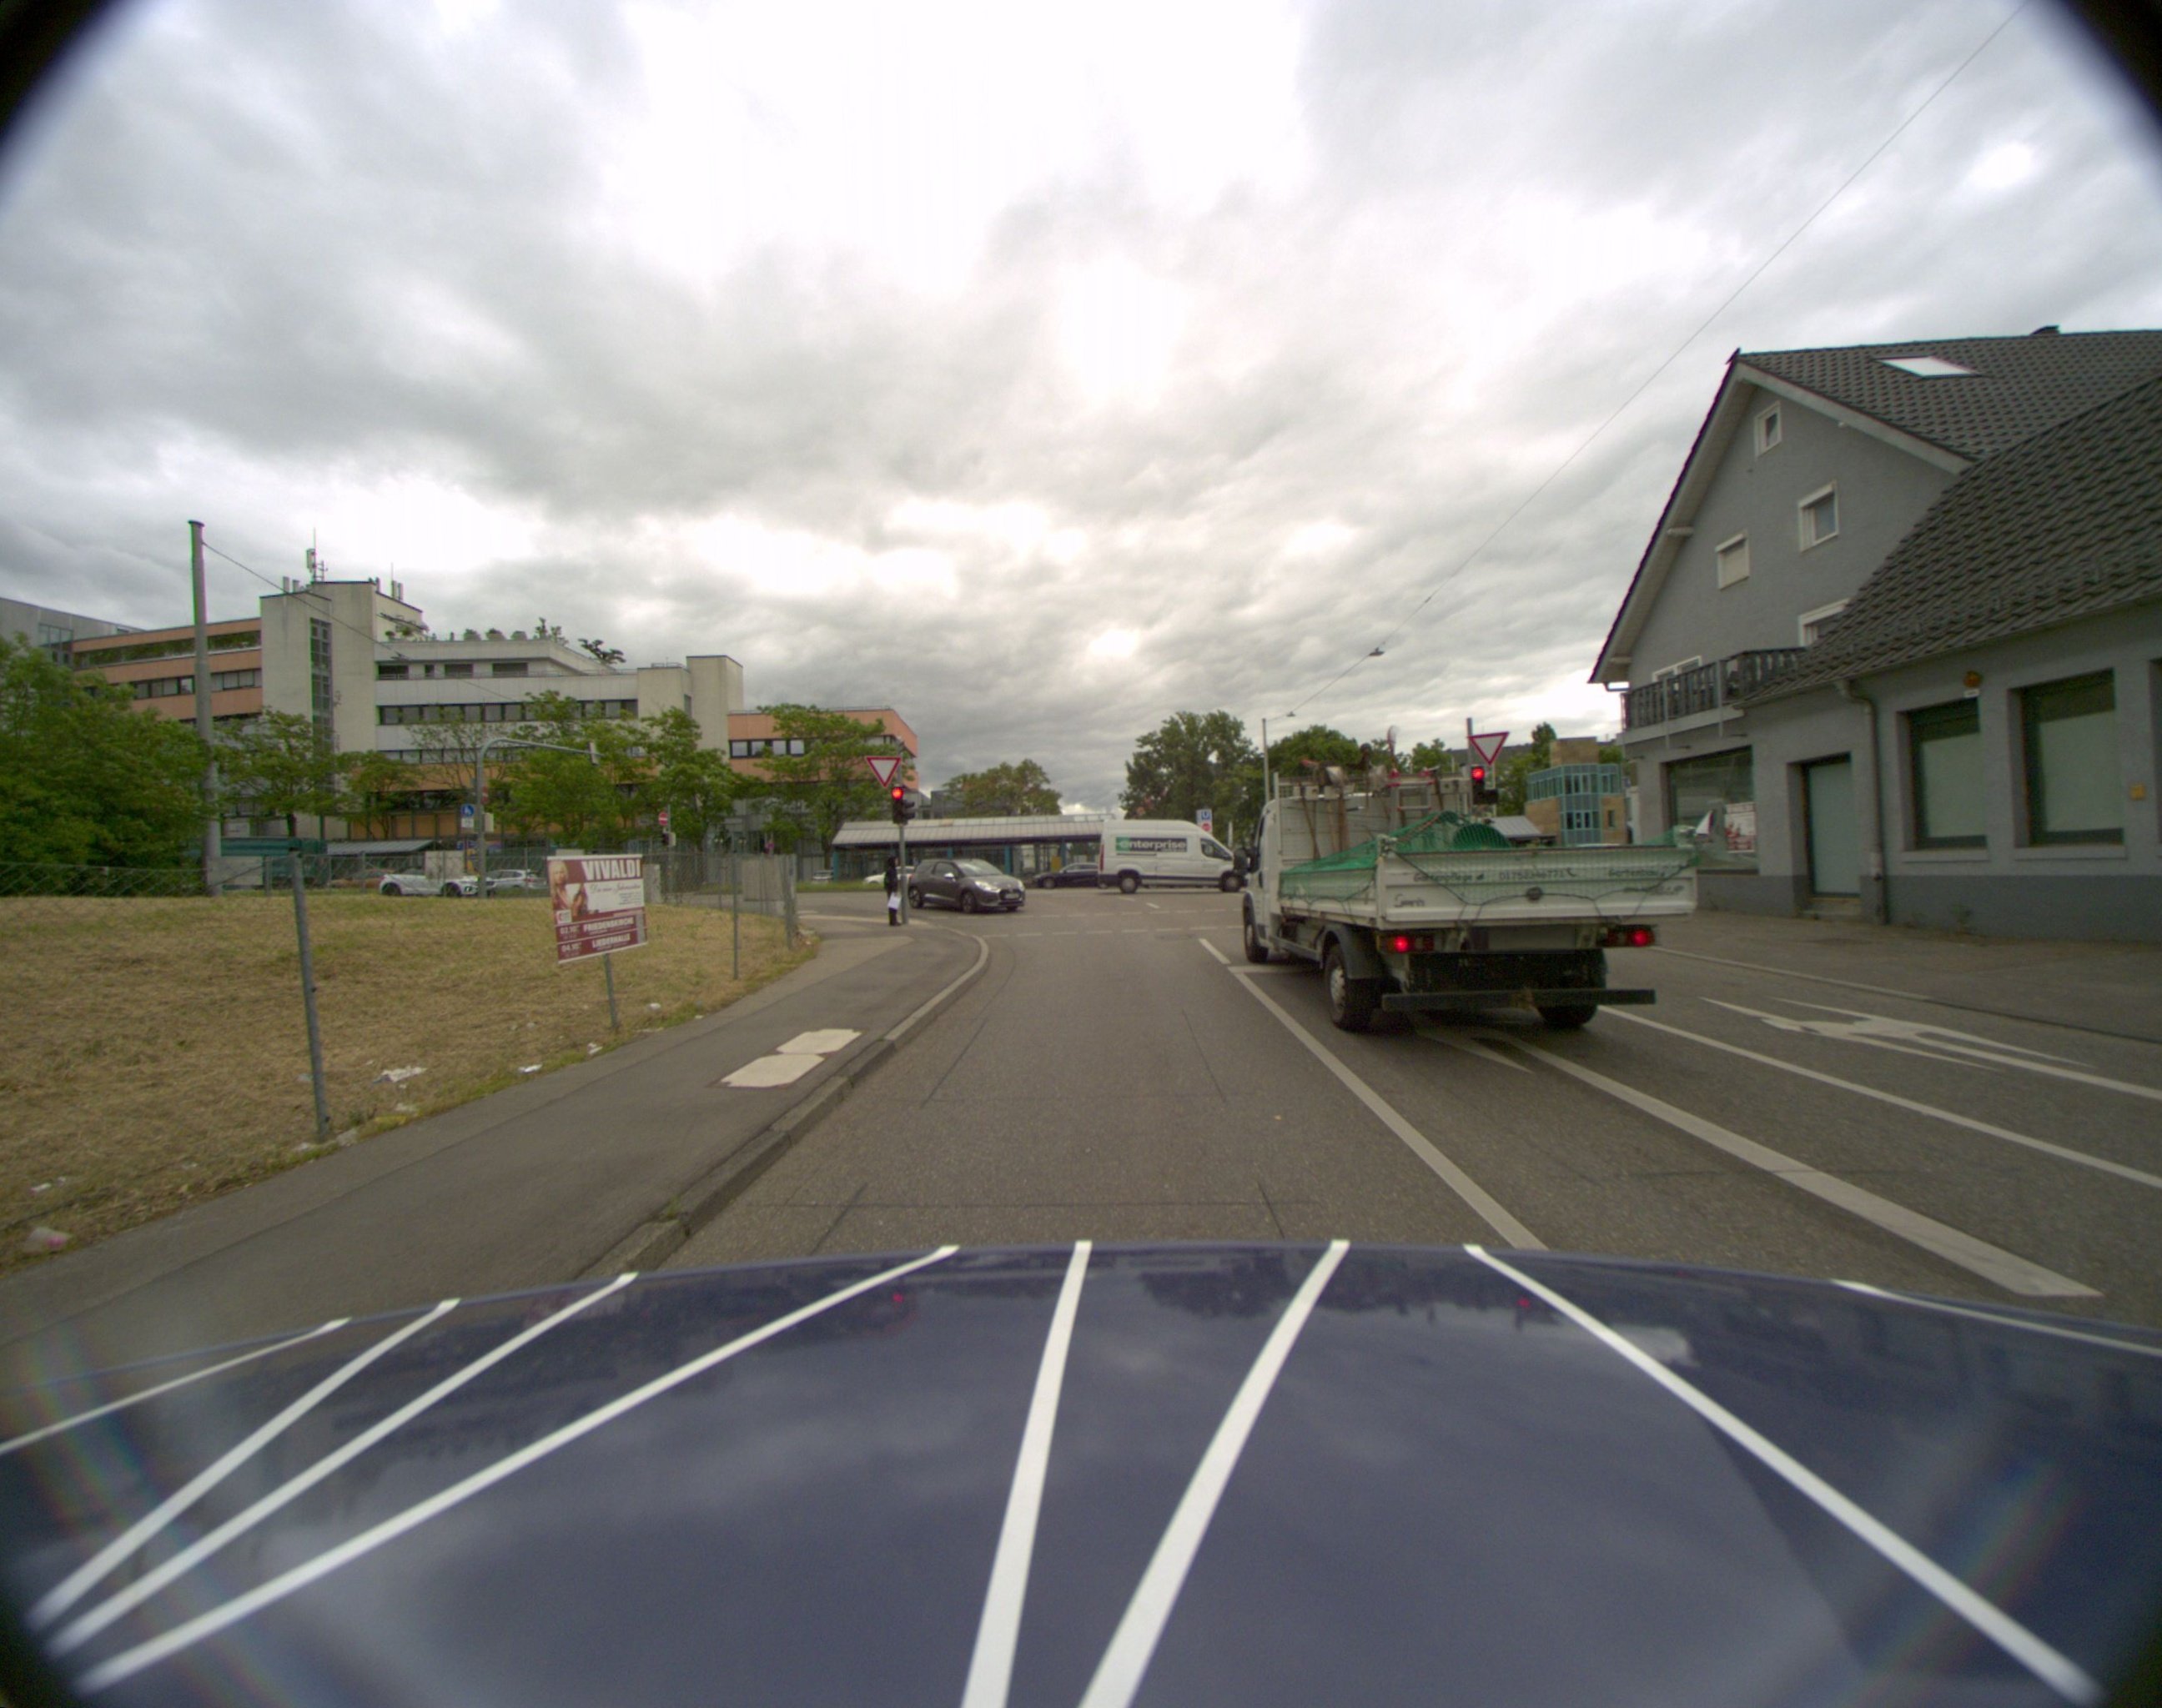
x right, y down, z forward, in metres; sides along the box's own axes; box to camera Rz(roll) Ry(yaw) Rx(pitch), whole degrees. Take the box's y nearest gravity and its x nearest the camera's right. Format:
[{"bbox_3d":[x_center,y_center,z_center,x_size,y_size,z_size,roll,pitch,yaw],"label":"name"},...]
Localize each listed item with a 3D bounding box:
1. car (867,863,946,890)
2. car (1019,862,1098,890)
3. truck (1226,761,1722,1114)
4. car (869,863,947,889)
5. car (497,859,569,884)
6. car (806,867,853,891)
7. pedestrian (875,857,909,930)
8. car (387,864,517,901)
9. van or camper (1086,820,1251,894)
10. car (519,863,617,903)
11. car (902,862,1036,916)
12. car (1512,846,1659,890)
[{"bbox_3d":[-9.675,1.216,42.291,3.932,1.372,1.631,1,0,1],"label":"car"},{"bbox_3d":[-1.110,1.101,38.780,3.914,1.303,1.668,-1,0,1],"label":"car"},{"bbox_3d":[3.152,0.560,8.199,2.126,2.188,6.591,-3,0,3],"label":"truck"},{"bbox_3d":[-9.599,1.227,42.297,3.914,1.303,1.668,1,0,1],"label":"car"},{"bbox_3d":[-29.965,0.948,41.592,2.995,1.215,1.294,2,0,1],"label":"car"},{"bbox_3d":[-16.848,1.629,51.166,1.802,1.448,4.000,1,0,0],"label":"car"},{"bbox_3d":[-4.207,0.865,16.928,0.553,1.581,0.672,1,0,0],"label":"pedestrian"},{"bbox_3d":[-27.597,1.242,33.447,3.998,1.503,1.999,-1,0,-3],"label":"car"},{"bbox_3d":[3.239,0.153,28.716,5.932,2.656,2.259,-1,-2,3],"label":"van or camper"},{"bbox_3d":[-28.224,1.584,41.912,3.997,2.002,2.000,1,0,0],"label":"car"},{"bbox_3d":[-3.219,0.927,21.432,3.770,1.390,1.651,0,0,40],"label":"car"},{"bbox_3d":[20.153,0.580,30.537,4.507,1.659,2.002,0,-3,5],"label":"car"}]
